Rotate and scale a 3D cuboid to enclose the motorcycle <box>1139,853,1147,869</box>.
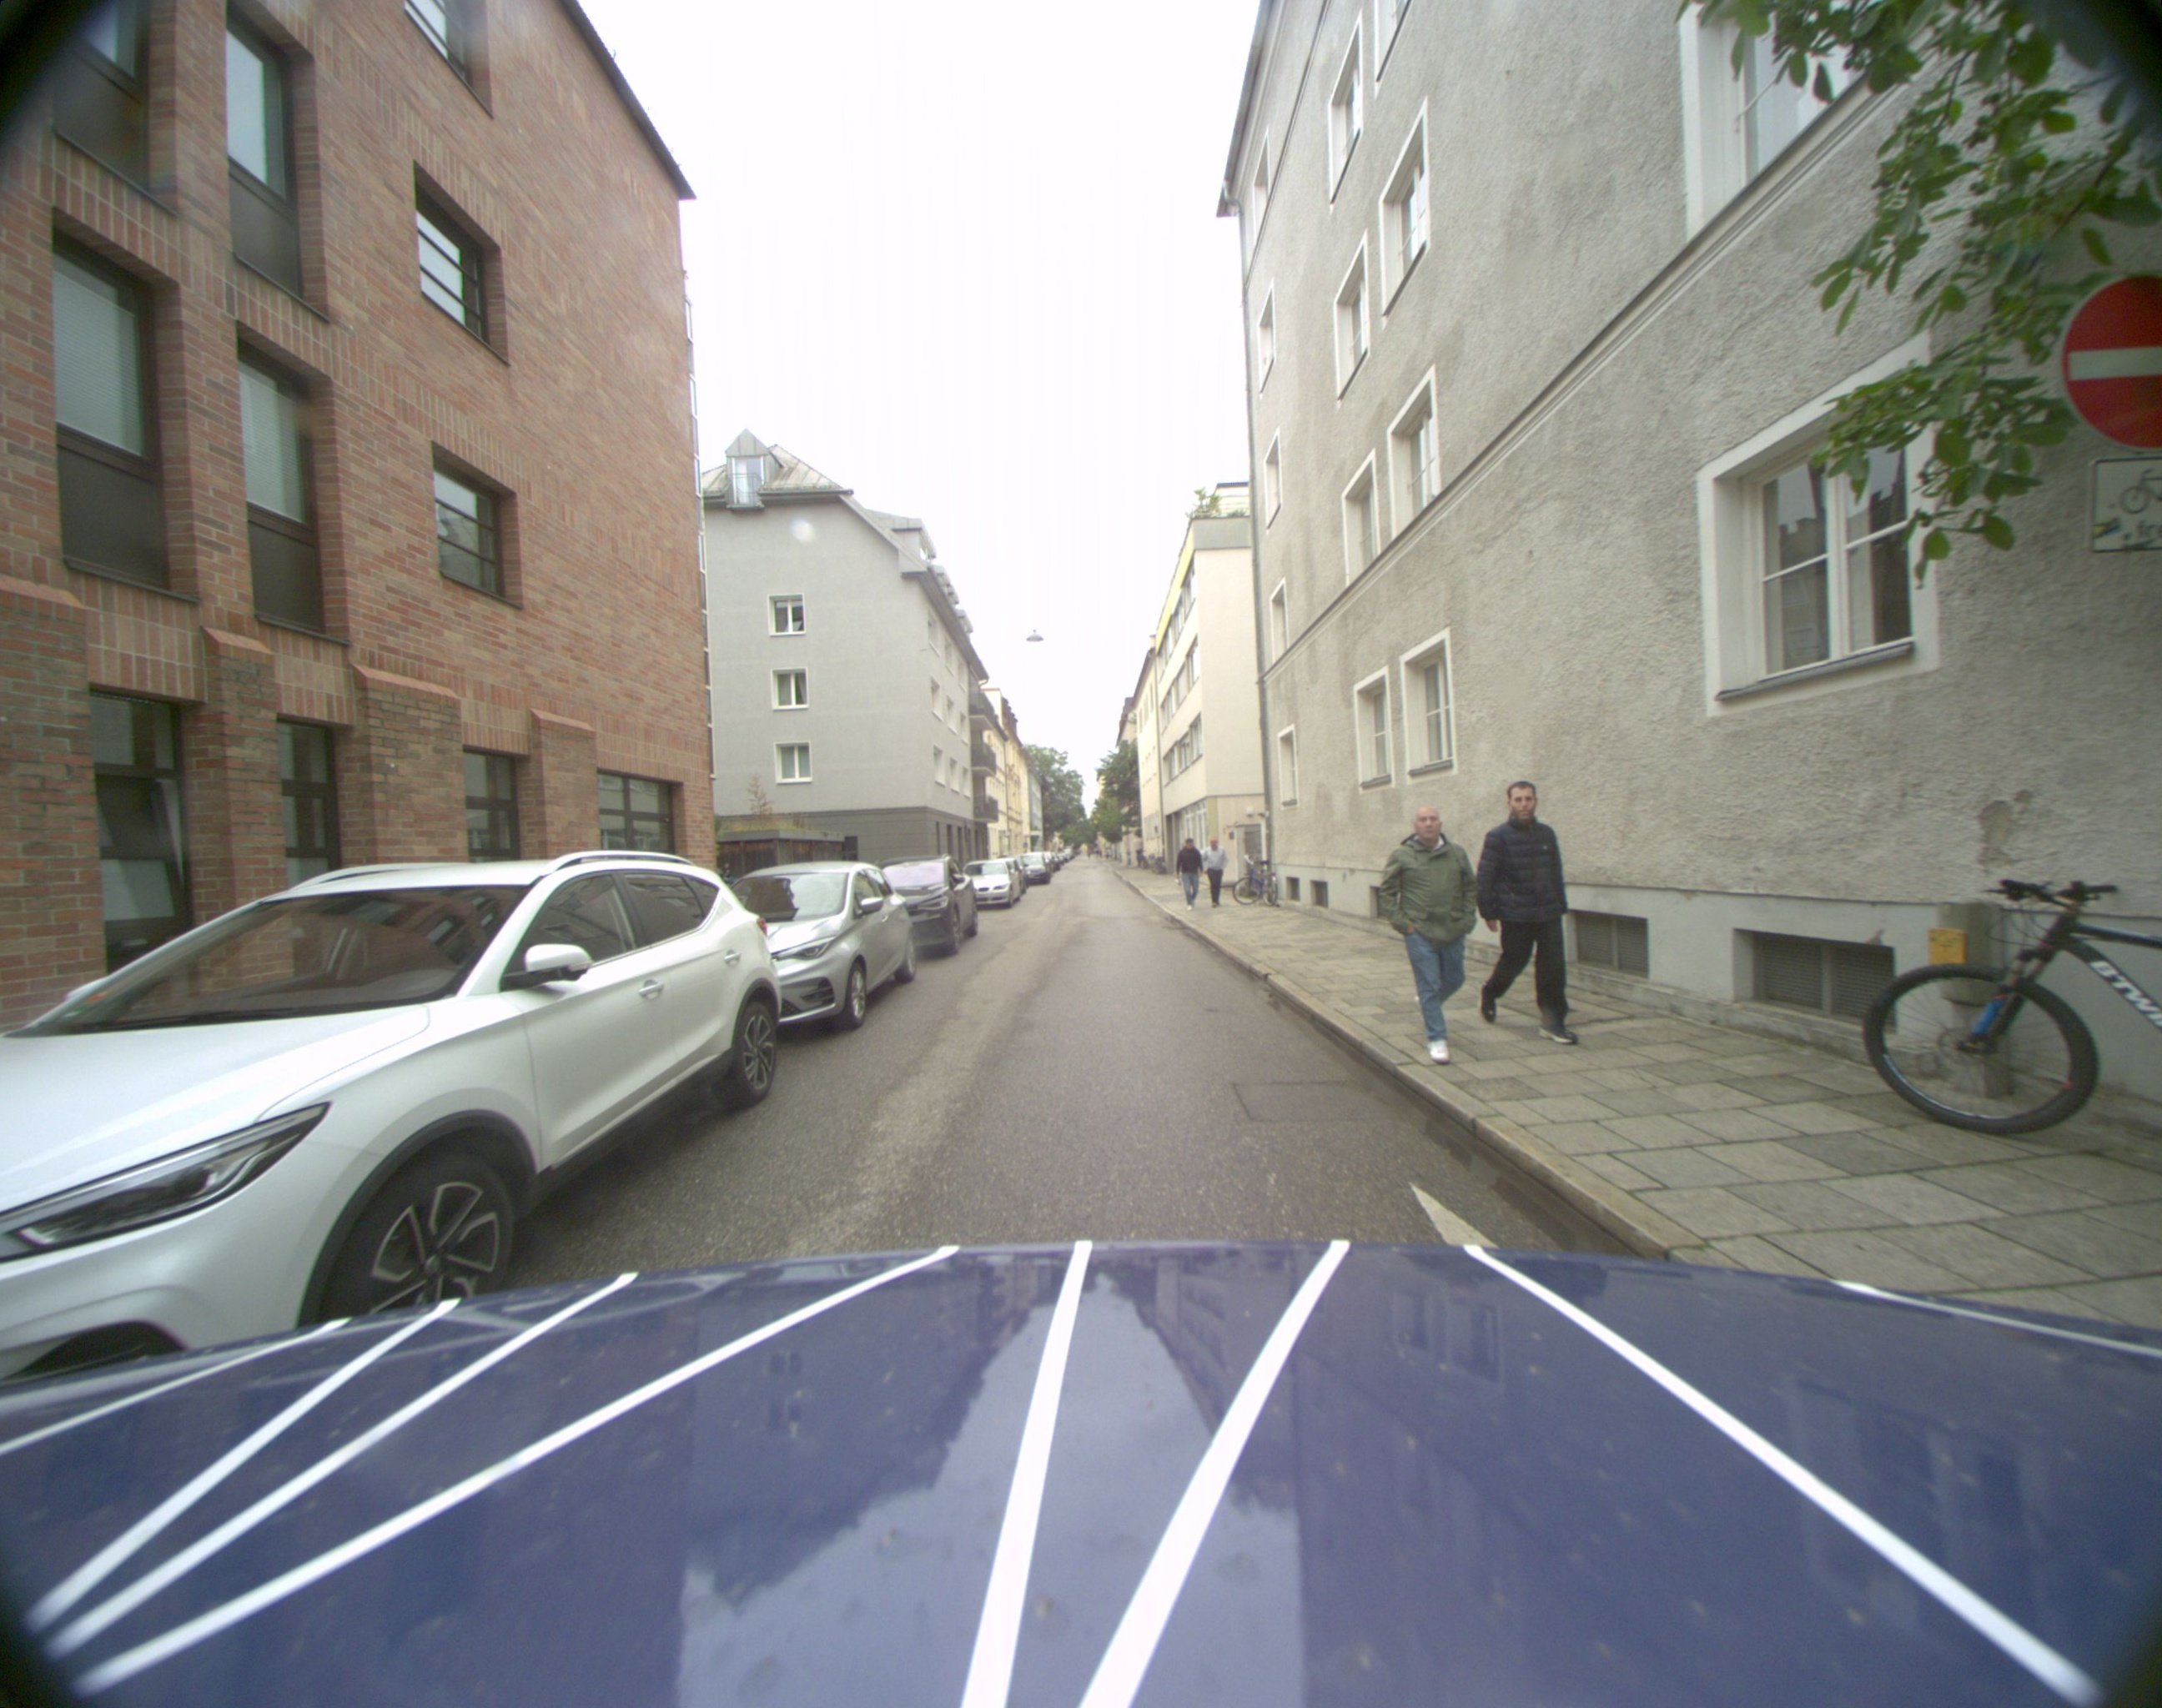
[{"bbox_3d":[4.090,0.447,50.005,0.324,0.968,1.961,-4,1,1],"label":"motorcycle"}]

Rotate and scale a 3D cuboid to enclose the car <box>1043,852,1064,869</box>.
[{"bbox_3d":[-2.265,0.509,62.932,1.525,1.259,3.210,-4,1,1],"label":"car"}]

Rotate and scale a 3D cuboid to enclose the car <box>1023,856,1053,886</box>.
[{"bbox_3d":[-2.079,0.796,37.456,1.190,1.312,2.779,-4,1,1],"label":"car"}]

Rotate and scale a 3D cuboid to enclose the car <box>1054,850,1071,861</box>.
[{"bbox_3d":[-2.421,0.187,101.698,1.998,1.259,4.000,-4,1,1],"label":"car"}]

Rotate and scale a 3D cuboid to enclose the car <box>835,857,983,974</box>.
[{"bbox_3d":[-2.797,0.913,13.224,1.619,1.570,4.051,-4,1,-1],"label":"car"}]

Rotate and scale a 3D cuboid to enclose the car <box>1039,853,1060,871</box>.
[{"bbox_3d":[-2.350,0.602,57.932,1.352,1.259,3.036,-4,1,1],"label":"car"}]

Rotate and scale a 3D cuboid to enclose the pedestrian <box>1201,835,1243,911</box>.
[{"bbox_3d":[3.381,0.449,18.289,0.695,1.718,0.841,-7,1,1],"label":"pedestrian"}]

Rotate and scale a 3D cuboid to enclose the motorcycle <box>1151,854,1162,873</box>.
[{"bbox_3d":[3.998,0.478,40.409,0.324,0.968,1.961,-4,1,1],"label":"motorcycle"}]

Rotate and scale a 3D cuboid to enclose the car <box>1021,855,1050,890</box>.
[{"bbox_3d":[-1.989,0.783,33.569,1.043,1.429,2.251,-4,1,1],"label":"car"}]

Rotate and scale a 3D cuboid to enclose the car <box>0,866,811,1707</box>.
[{"bbox_3d":[-2.920,0.971,3.519,1.725,1.606,4.454,-4,1,-1],"label":"car"}]

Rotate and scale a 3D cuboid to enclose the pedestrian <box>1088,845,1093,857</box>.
[{"bbox_3d":[1.618,-0.479,130.603,0.862,2.002,0.786,-4,1,1],"label":"pedestrian"}]

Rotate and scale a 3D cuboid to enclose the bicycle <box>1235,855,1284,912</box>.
[{"bbox_3d":[3.969,0.636,16.980,0.450,1.187,1.498,-4,1,-9],"label":"bicycle"}]

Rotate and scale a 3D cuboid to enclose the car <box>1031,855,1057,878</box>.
[{"bbox_3d":[-2.315,0.762,48.255,1.352,1.259,3.036,-4,1,1],"label":"car"}]

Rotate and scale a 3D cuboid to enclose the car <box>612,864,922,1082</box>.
[{"bbox_3d":[-2.888,0.974,7.949,1.619,1.549,3.807,-4,1,-1],"label":"car"}]

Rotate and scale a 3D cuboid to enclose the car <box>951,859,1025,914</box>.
[{"bbox_3d":[-2.733,0.917,23.097,1.619,1.369,3.817,-4,1,1],"label":"car"}]

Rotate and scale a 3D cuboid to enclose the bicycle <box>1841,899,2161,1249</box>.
[{"bbox_3d":[3.834,0.778,2.722,0.432,1.089,1.703,-4,1,-1],"label":"bicycle"}]

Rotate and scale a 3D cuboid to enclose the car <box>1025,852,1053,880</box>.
[{"bbox_3d":[-2.415,0.662,44.083,1.352,1.505,3.036,-4,1,1],"label":"car"}]

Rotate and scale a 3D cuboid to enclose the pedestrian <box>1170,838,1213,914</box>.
[{"bbox_3d":[2.651,0.511,18.266,0.722,1.718,0.841,-7,1,1],"label":"pedestrian"}]

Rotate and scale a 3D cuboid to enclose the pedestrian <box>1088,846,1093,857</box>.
[{"bbox_3d":[1.637,-0.386,129.854,0.697,1.834,0.691,-4,1,1],"label":"pedestrian"}]

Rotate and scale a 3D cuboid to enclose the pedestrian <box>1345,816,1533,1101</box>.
[{"bbox_3d":[2.307,0.629,5.006,0.691,1.668,0.859,-5,1,-1],"label":"pedestrian"}]

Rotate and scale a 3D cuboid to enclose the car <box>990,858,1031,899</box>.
[{"bbox_3d":[-2.599,0.883,28.401,1.154,1.367,2.685,-4,1,1],"label":"car"}]

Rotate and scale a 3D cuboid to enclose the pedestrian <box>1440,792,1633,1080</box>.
[{"bbox_3d":[3.055,0.509,5.156,0.692,1.753,0.741,-5,1,-10],"label":"pedestrian"}]
